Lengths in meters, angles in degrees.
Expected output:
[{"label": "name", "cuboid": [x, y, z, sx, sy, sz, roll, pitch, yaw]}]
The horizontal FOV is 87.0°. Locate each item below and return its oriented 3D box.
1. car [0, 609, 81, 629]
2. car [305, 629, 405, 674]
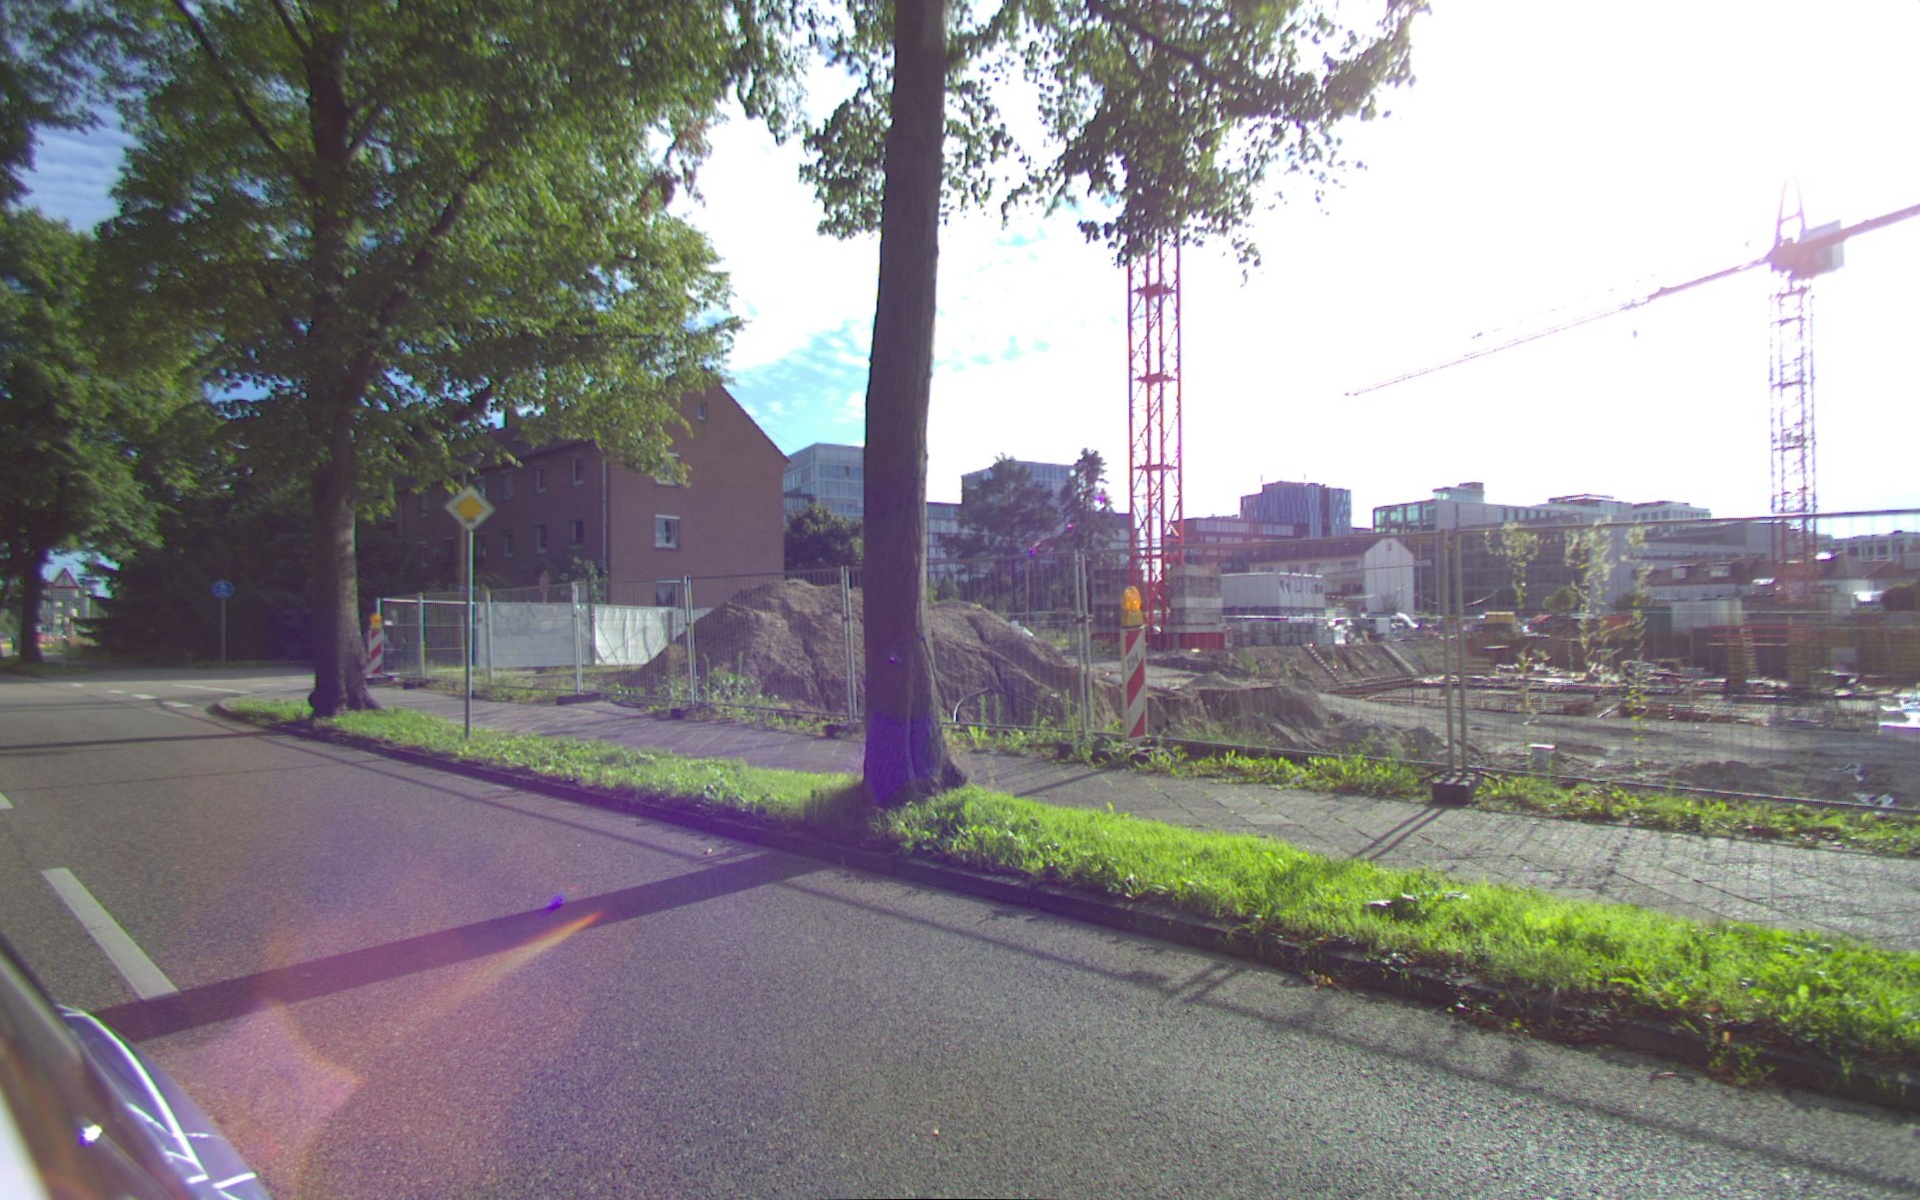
[{"label": "car", "cuboid": [-93.642, 1.954, 102.984, 6.162, 1.881, 2.478, -1, 0, -1]}, {"label": "car", "cuboid": [-21.748, 1.799, 36.321, 4.509, 1.439, 1.971, 0, -2, 44]}]
